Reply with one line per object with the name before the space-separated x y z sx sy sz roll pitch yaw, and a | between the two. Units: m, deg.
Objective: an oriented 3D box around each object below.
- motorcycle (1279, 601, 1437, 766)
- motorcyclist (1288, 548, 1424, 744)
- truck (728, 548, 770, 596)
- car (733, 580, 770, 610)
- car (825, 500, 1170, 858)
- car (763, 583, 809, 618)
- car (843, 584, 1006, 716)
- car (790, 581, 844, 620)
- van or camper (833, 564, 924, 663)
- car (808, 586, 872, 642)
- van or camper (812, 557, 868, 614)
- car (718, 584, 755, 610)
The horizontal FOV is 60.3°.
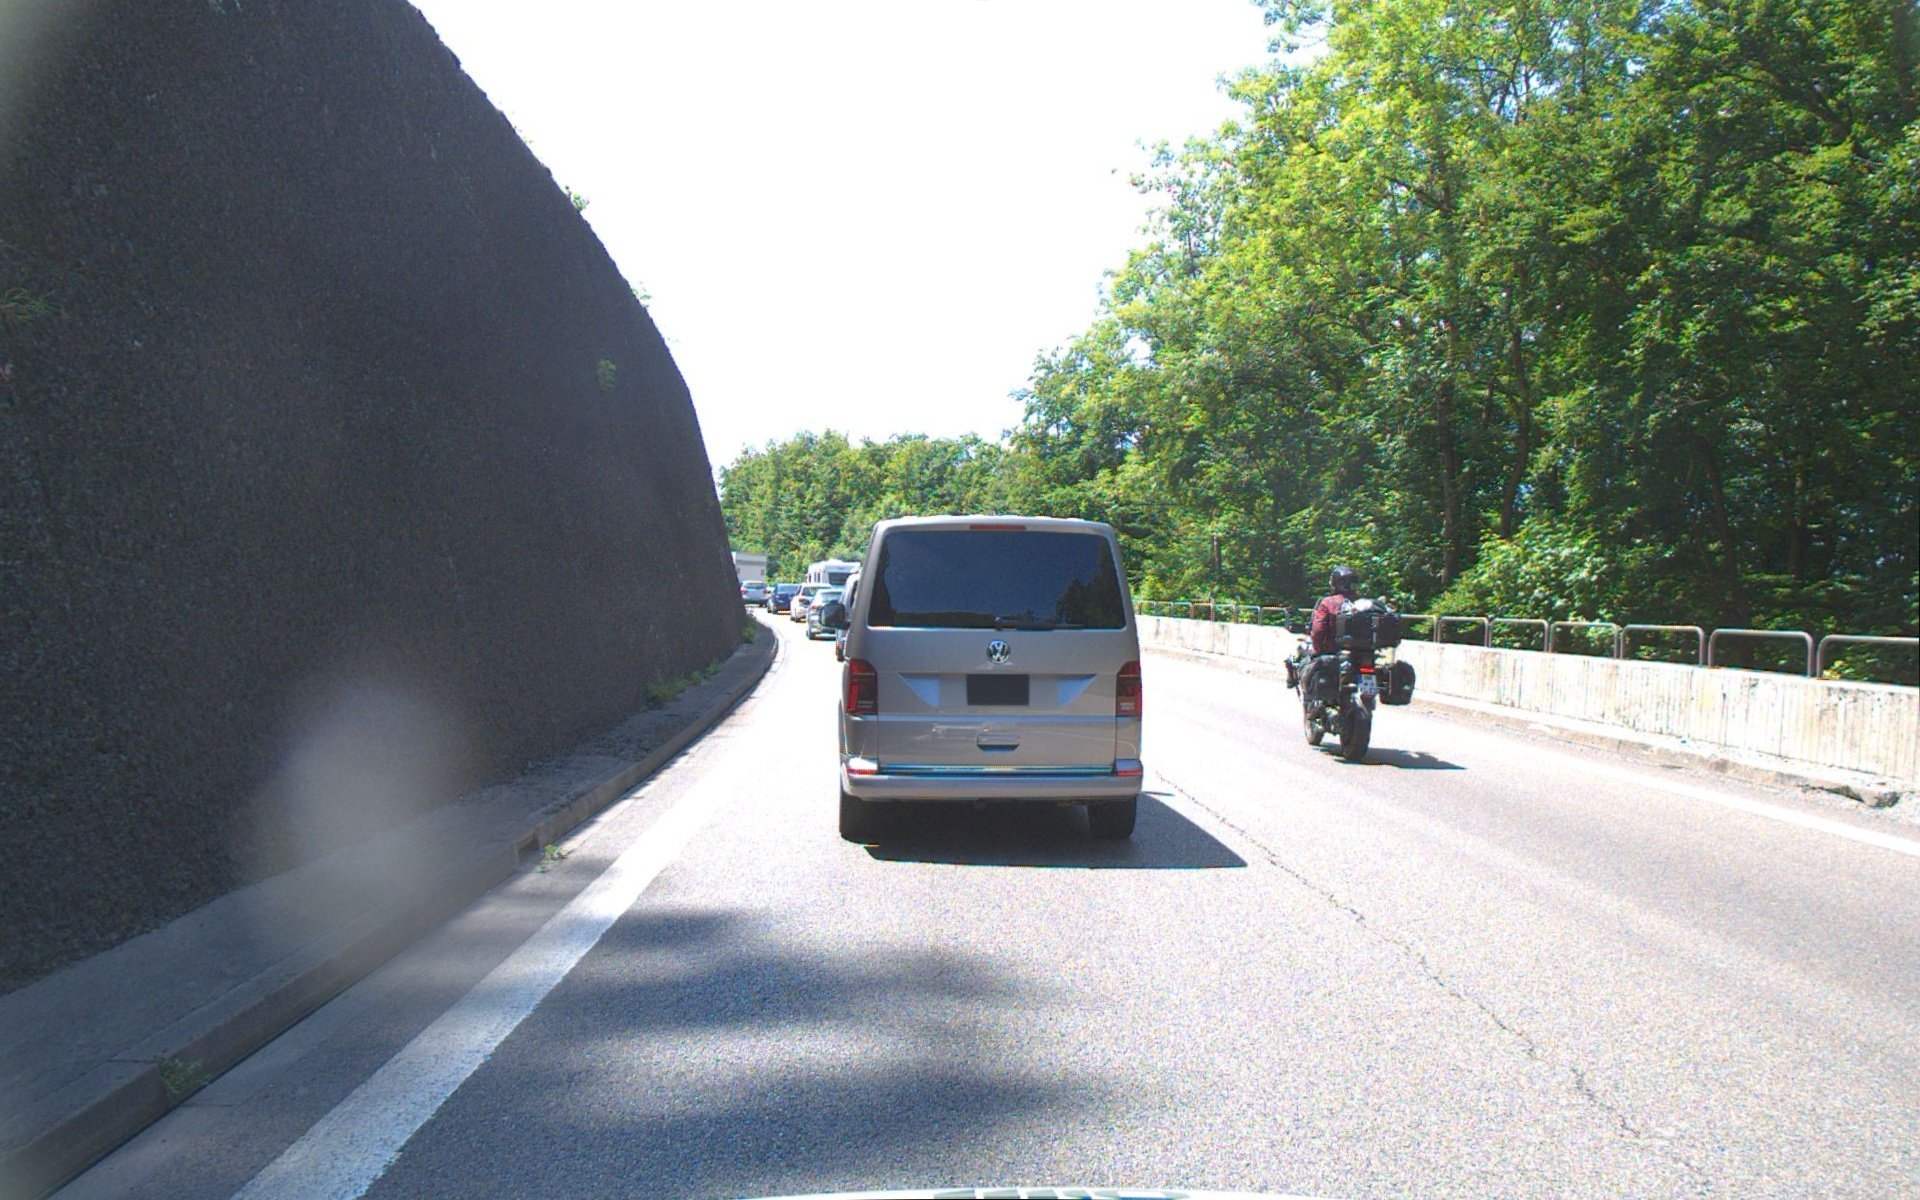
motorcycle | 3.828 0.749 16.194 0.952 1.444 2.681 1 0 2
motorcyclist | 3.861 0.429 16.243 1.038 1.832 1.338 1 0 2
truck | -16.999 -2.209 133.025 2.872 3.751 7.704 1 0 -11
car | -11.907 -0.300 94.318 1.956 1.646 3.993 1 0 -8
car | 0.151 0.434 11.692 1.901 1.965 4.693 2 0 -2
car | -8.373 0.006 79.511 1.825 1.648 3.989 1 0 -11
car | -0.576 0.594 22.175 1.868 1.515 4.375 3 0 -5
car | -5.777 0.000 66.416 1.829 1.512 3.992 1 0 -9
van or camper | -1.789 0.258 35.498 1.817 1.976 4.162 1 0 -4
car | -3.497 0.379 47.850 1.737 1.498 3.996 1 0 -5
van or camper | -6.899 -0.857 94.368 2.556 2.904 6.325 5 0 -8
car | -14.565 -0.210 107.578 1.724 1.598 3.751 1 0 -18
